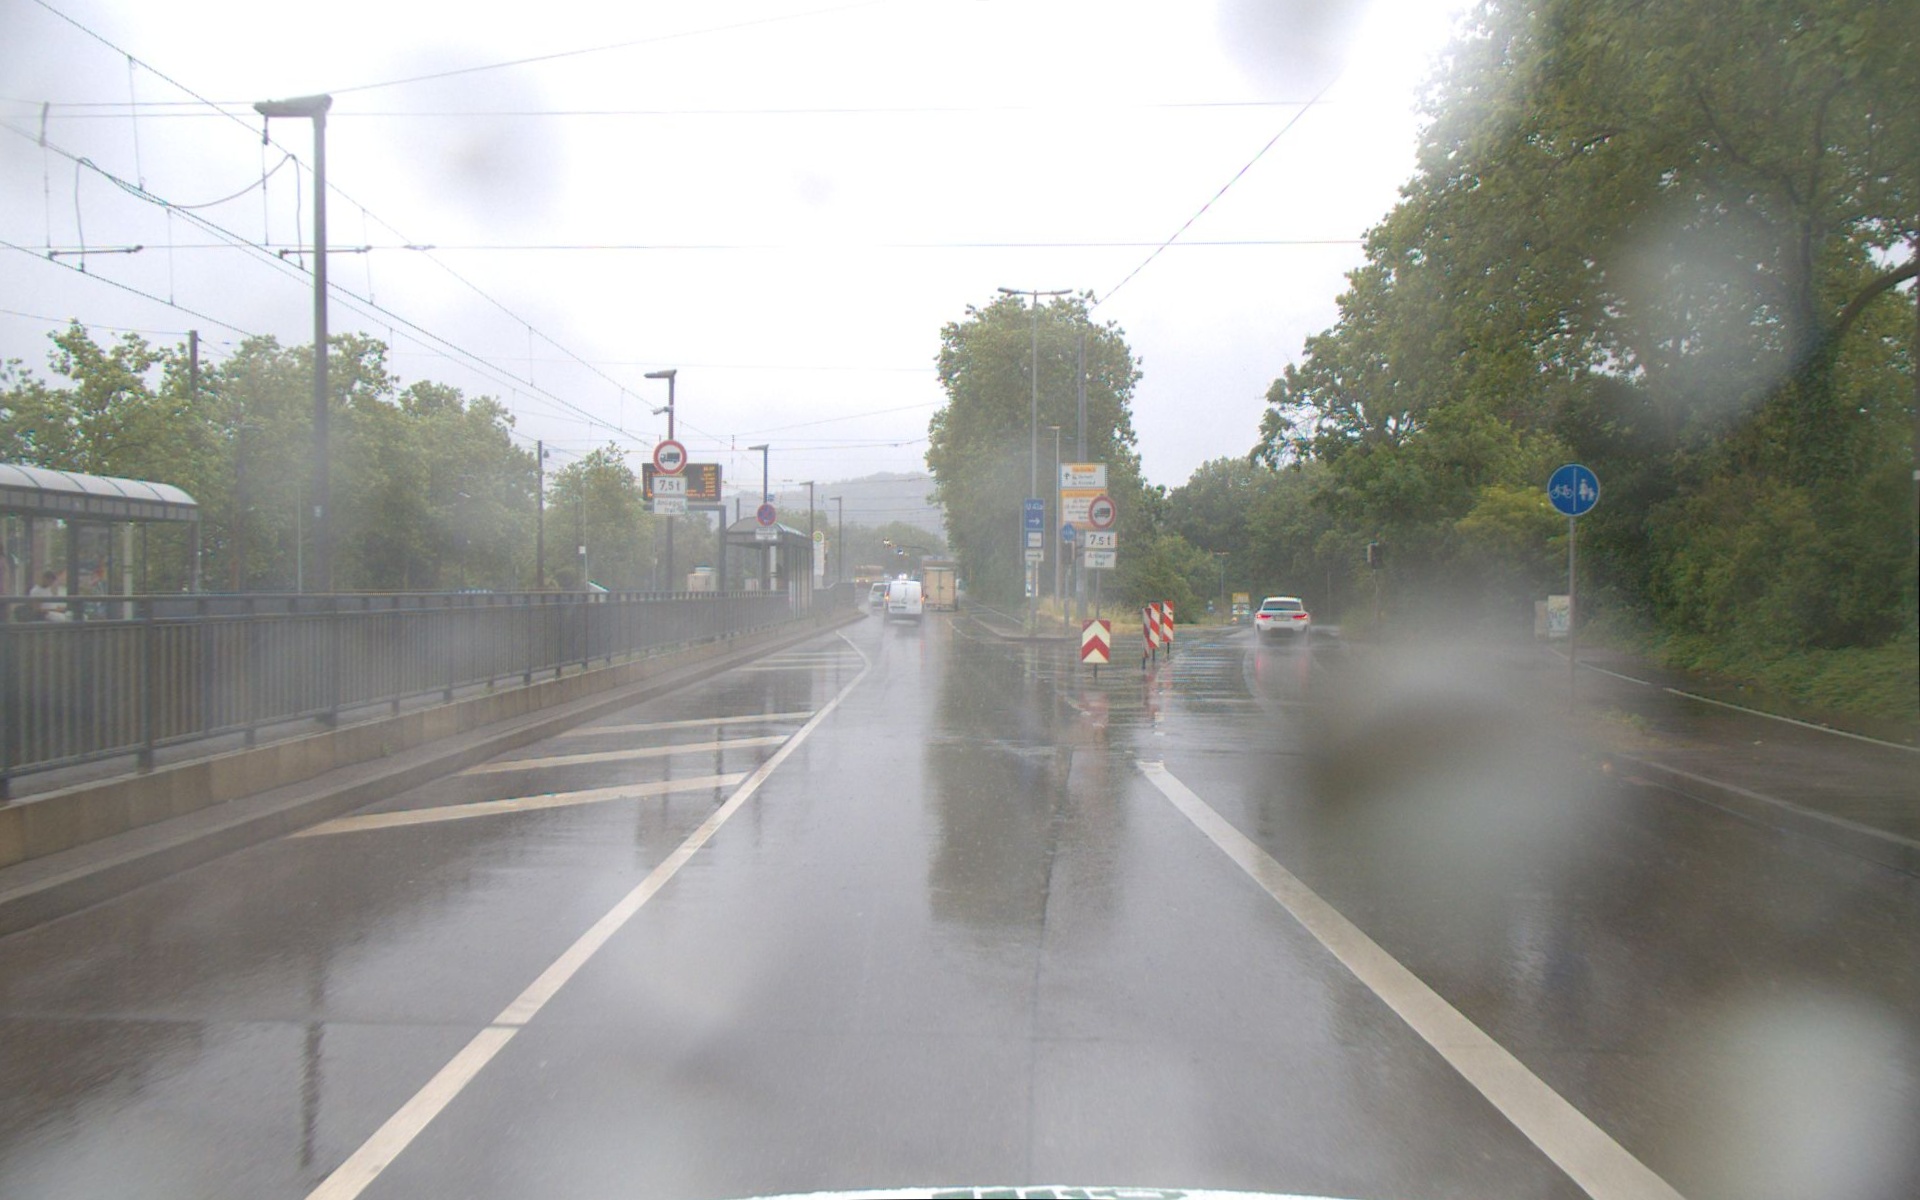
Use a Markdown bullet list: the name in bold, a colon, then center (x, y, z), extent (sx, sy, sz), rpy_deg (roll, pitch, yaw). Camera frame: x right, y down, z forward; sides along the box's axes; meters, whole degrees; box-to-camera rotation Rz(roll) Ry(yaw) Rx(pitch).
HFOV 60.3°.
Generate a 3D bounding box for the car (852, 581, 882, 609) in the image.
- **car**: center (-5.837, -0.301, 104.594), extent (1.750, 1.671, 3.967), rpy_deg (1, 0, -2)

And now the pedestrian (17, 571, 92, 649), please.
- **pedestrian**: center (-15.895, 0.166, 29.065), extent (0.814, 1.339, 0.858), rpy_deg (1, 0, -1)

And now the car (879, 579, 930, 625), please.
- **car**: center (-2.365, 0.064, 69.915), extent (1.954, 1.881, 3.996), rpy_deg (0, 0, -5)

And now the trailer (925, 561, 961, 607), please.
- **trailer**: center (-1.059, -0.998, 105.533), extent (2.121, 2.805, 5.677), rpy_deg (1, 0, 1)

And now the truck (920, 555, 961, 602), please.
- **truck**: center (-1.645, -1.706, 136.731), extent (2.721, 3.769, 9.843), rpy_deg (1, 0, -4)

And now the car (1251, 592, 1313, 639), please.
- **car**: center (10.595, 0.486, 54.224), extent (1.848, 1.456, 4.003), rpy_deg (1, 0, 13)
